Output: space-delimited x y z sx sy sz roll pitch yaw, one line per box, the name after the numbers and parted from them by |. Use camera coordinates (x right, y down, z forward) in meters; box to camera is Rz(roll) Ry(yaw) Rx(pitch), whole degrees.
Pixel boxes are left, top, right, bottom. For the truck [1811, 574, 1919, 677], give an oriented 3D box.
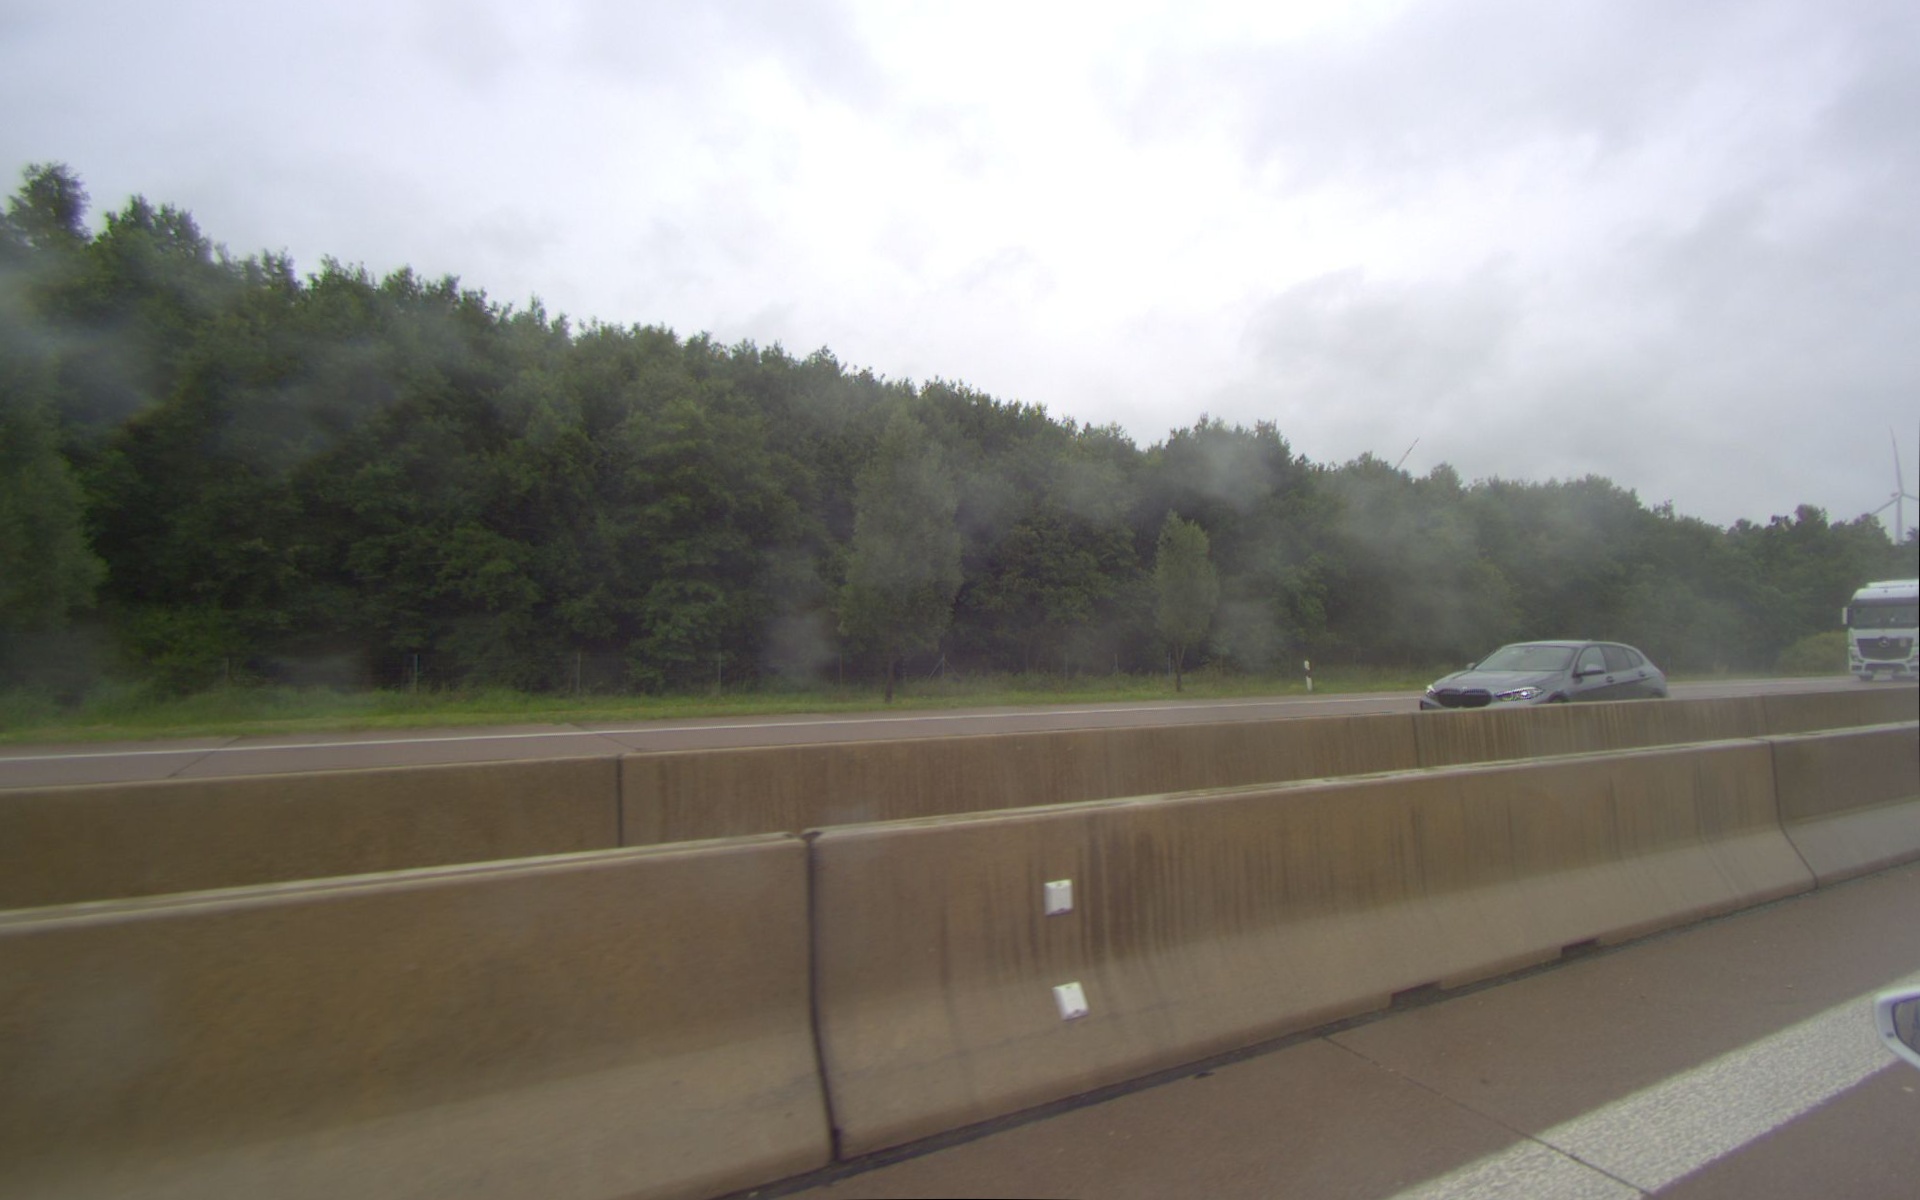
39.217 1.182 41.844 7.379 3.939 3.456 2 -4 -31 | truck

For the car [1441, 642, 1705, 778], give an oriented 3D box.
9.304 1.554 15.213 3.830 1.819 1.781 2 -2 -30 | car

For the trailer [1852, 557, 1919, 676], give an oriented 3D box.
44.925 0.882 45.225 12.302 4.929 3.414 2 -4 -31 | trailer
